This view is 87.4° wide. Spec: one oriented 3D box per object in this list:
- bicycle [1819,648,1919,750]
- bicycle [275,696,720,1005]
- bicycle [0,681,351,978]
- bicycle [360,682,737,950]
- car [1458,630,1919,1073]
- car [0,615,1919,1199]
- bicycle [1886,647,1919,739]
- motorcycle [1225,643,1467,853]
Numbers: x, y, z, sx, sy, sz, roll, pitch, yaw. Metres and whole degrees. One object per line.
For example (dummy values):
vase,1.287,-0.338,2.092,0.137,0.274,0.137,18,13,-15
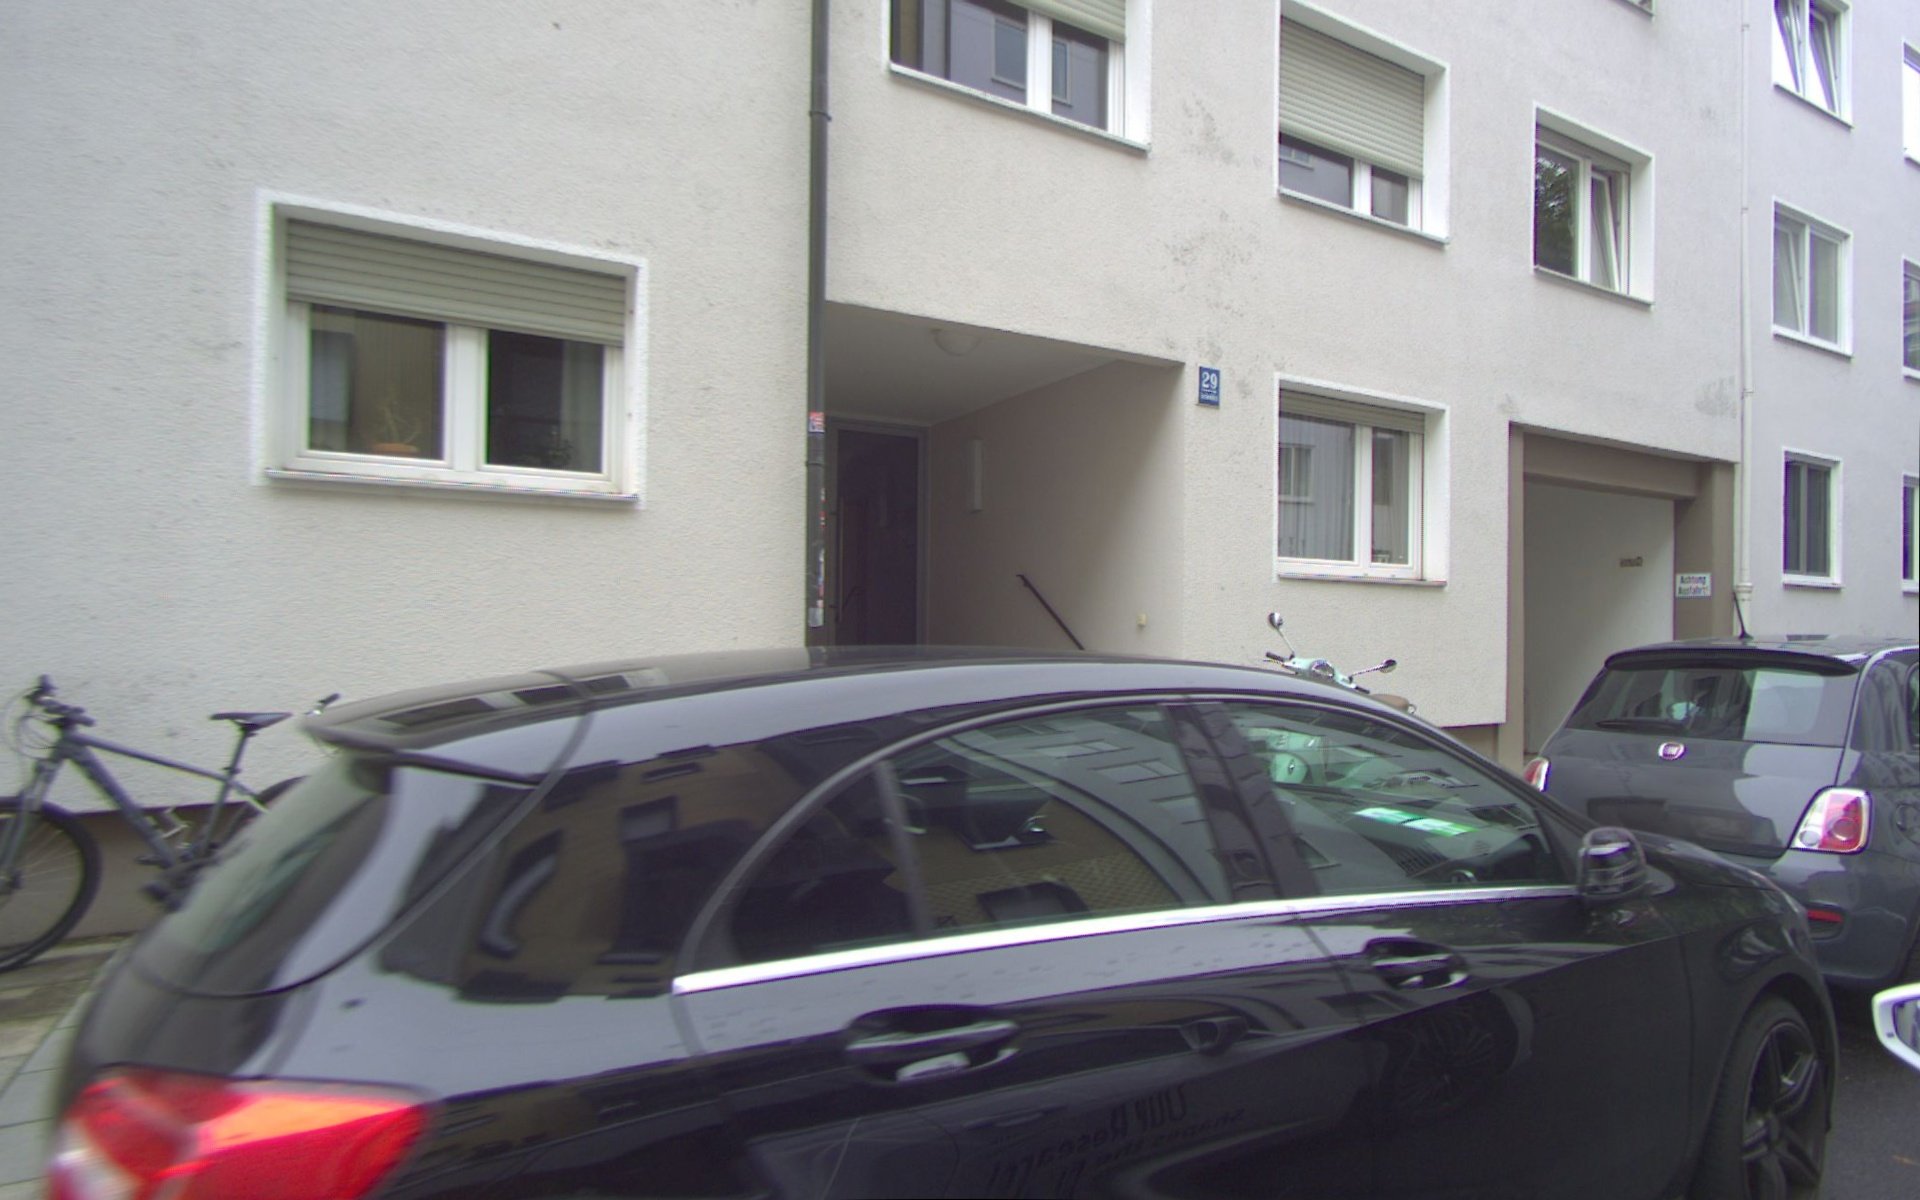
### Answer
bicycle,10.917,1.143,11.928,1.847,1.112,0.461,1,0,-29
bicycle,-1.841,0.947,4.164,1.605,1.030,0.386,1,-2,-31
bicycle,-3.250,0.856,3.954,1.424,1.030,0.377,1,-2,-30
bicycle,-1.849,0.920,4.640,1.556,1.030,0.396,1,-2,-31
car,4.382,0.921,4.963,3.697,1.465,1.605,1,-4,-29
car,0.460,0.788,2.421,4.180,1.435,1.791,2,-1,-32
bicycle,12.551,1.167,12.860,1.847,1.112,0.461,1,0,-29
motorcycle,2.628,0.911,6.742,1.840,1.219,0.595,1,-1,-35
